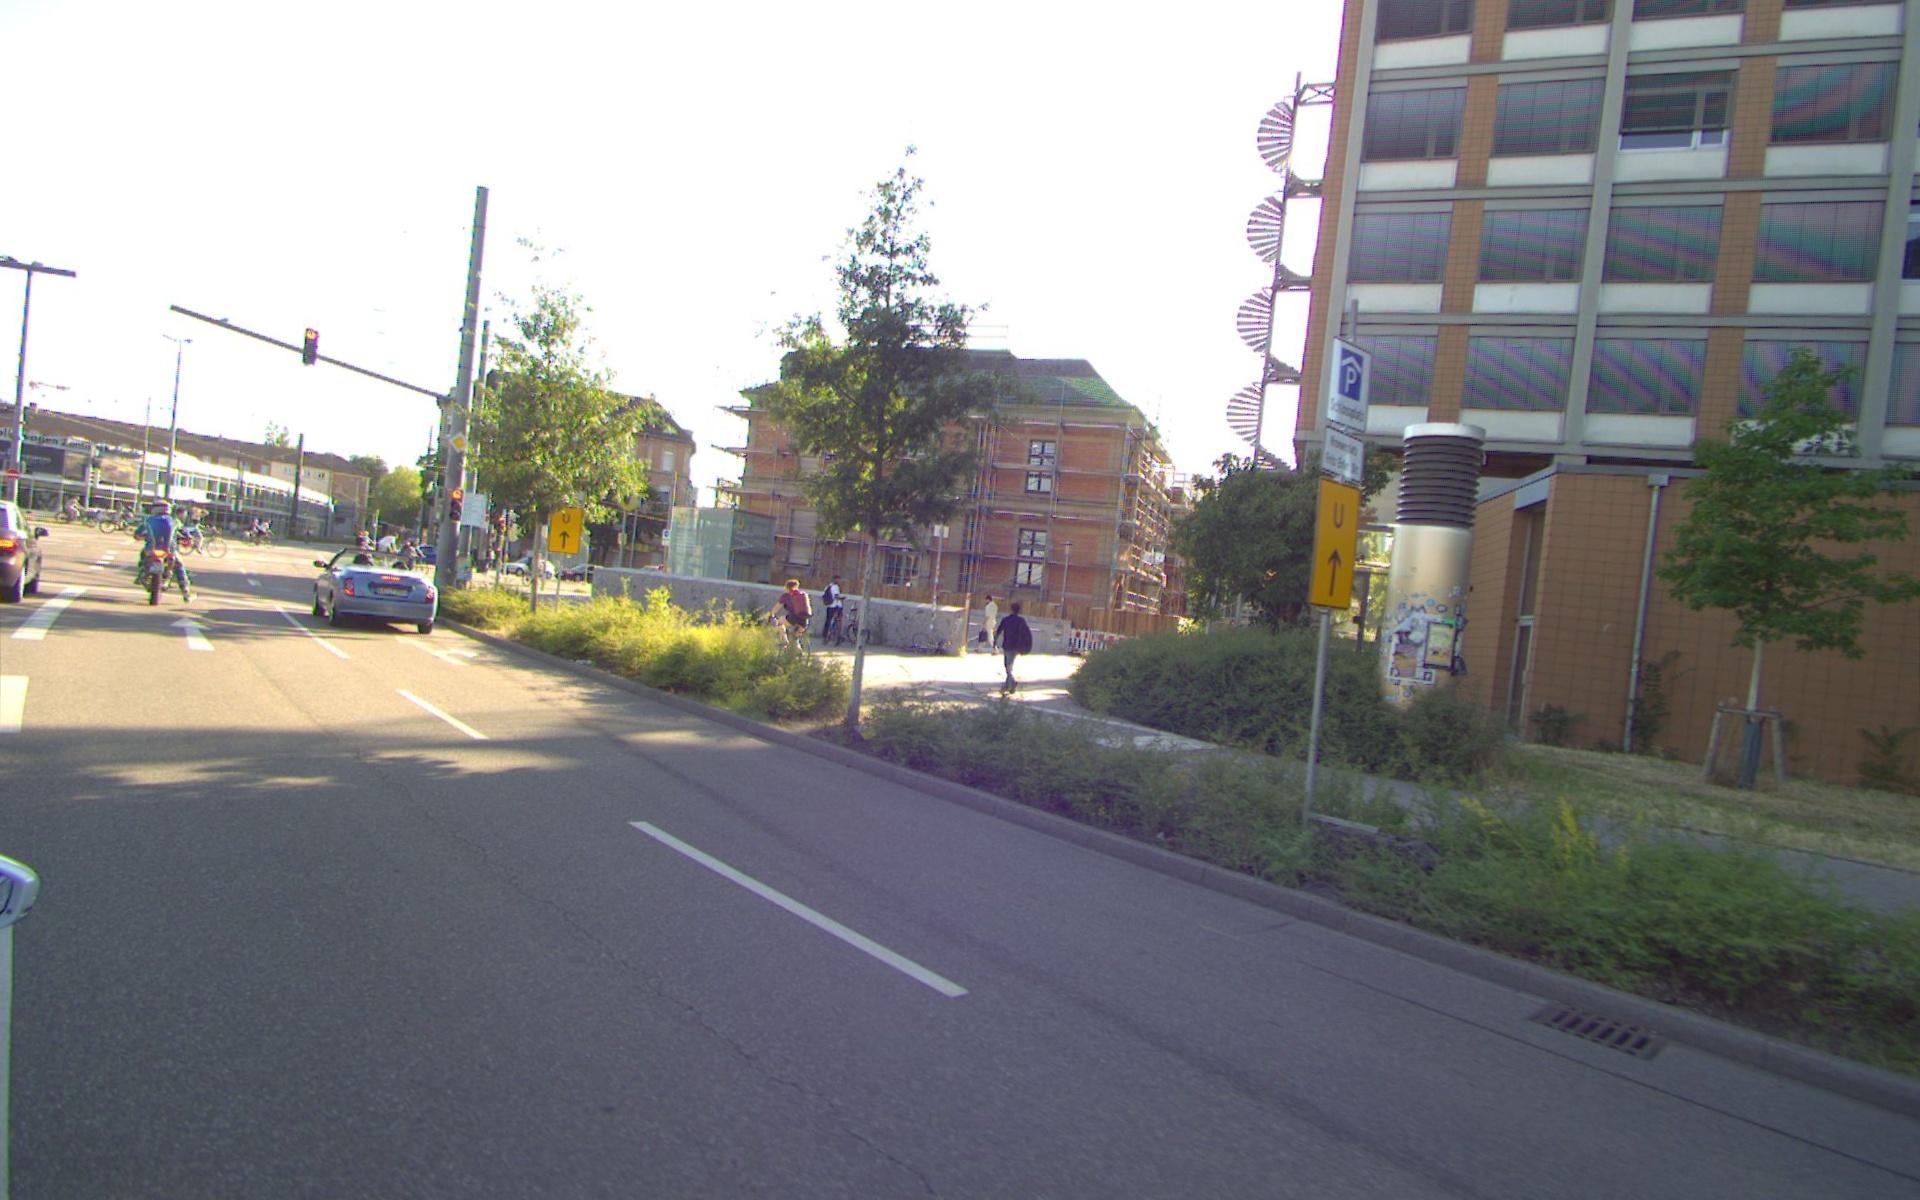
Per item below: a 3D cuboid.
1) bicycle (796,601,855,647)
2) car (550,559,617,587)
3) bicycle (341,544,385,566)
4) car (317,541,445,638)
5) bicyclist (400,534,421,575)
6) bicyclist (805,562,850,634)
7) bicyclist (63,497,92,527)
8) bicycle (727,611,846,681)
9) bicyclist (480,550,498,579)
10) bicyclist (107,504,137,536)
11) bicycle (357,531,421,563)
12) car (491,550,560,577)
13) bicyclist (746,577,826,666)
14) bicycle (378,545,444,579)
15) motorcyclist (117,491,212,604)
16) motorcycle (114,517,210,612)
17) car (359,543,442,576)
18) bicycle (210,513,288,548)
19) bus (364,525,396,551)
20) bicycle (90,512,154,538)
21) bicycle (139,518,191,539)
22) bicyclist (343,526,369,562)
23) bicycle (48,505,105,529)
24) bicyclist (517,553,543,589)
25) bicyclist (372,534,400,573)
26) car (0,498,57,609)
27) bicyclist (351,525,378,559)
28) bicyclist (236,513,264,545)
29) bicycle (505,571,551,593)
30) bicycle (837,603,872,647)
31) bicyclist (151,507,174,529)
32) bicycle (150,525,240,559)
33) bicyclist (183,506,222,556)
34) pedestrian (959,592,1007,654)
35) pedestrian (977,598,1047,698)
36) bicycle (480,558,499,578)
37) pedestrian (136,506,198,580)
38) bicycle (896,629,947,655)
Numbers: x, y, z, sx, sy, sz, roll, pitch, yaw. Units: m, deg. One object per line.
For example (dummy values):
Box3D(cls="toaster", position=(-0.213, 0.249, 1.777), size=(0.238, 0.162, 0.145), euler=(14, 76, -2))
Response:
Box3D(cls="bicycle", position=(-3.551, 0.606, 26.434), size=(0.783, 1.052, 1.948), euler=(4, 1, -31))
Box3D(cls="car", position=(-27.667, -1.964, 73.932), size=(1.927, 1.504, 4.083), euler=(6, 0, 41))
Box3D(cls="bicycle", position=(-32.137, -2.412, 54.210), size=(0.844, 0.917, 2.303), euler=(8, 0, 3))
Box3D(cls="car", position=(-11.148, -0.263, 19.240), size=(1.789, 1.461, 3.944), euler=(8, -1, -33))
Box3D(cls="bicyclist", position=(-24.735, -2.051, 45.311), size=(0.644, 1.712, 0.853), euler=(7, 2, -29))
Box3D(cls="bicyclist", position=(-3.479, -0.054, 26.372), size=(0.780, 1.809, 0.887), euler=(4, 1, -31))
Box3D(cls="bicyclist", position=(-52.000, -5.202, 59.286), size=(0.846, 1.579, 0.924), euler=(9, 1, 31))
Box3D(cls="bicycle", position=(-3.006, 0.769, 17.255), size=(2.219, 0.963, 0.718), euler=(5, -2, 43))
Box3D(cls="bicyclist", position=(-27.300, -2.045, 58.349), size=(0.783, 1.614, 0.940), euler=(4, 1, -31))
Box3D(cls="bicyclist", position=(-45.104, -4.297, 54.145), size=(0.948, 1.579, 0.923), euler=(7, 1, 36))
Box3D(cls="bicycle", position=(-27.277, -2.505, 48.108), size=(0.846, 1.147, 2.495), euler=(9, 1, 33))
Box3D(cls="car", position=(-31.588, -2.636, 73.190), size=(1.926, 1.470, 4.090), euler=(6, 0, 40))
Box3D(cls="bicyclist", position=(-2.991, 0.363, 17.284), size=(1.061, 1.401, 0.718), euler=(5, -2, 42))
Box3D(cls="bicycle", position=(-24.727, -1.718, 45.341), size=(2.474, 1.147, 0.853), euler=(8, 1, -29))
Box3D(cls="motorcyclist", position=(-13.557, -0.890, 17.185), size=(1.091, 1.742, 0.927), euler=(7, -1, -38))
Box3D(cls="motorcycle", position=(-13.616, -0.628, 17.221), size=(1.091, 1.394, 2.626), euler=(7, -1, -37))
Box3D(cls="car", position=(-37.680, -2.693, 67.806), size=(4.580, 1.613, 1.933), euler=(7, 0, -39))
Box3D(cls="bicycle", position=(-47.767, -4.643, 67.647), size=(1.120, 1.711, 3.991), euler=(9, 1, 33))
Box3D(cls="bus", position=(-72.845, -7.832, 126.505), size=(2.333, 2.919, 9.516), euler=(8, 1, -25))
Box3D(cls="bicycle", position=(-45.109, -4.027, 54.178), size=(0.948, 1.016, 2.438), euler=(7, 0, 35))
Box3D(cls="bicycle", position=(-48.255, -4.327, 61.102), size=(0.844, 0.971, 2.302), euler=(9, 1, 24))
Box3D(cls="bicyclist", position=(-32.114, -2.981, 53.504), size=(0.850, 1.800, 0.584), euler=(6, 1, 3))
Box3D(cls="bicycle", position=(-52.043, -4.893, 59.286), size=(0.846, 0.991, 2.299), euler=(9, 1, 31))
Box3D(cls="bicyclist", position=(-22.280, -1.491, 52.116), size=(0.844, 1.712, 0.651), euler=(8, 1, 14))
Box3D(cls="bicyclist", position=(-27.394, -2.218, 48.002), size=(0.846, 1.712, 0.650), euler=(9, 2, 33))
Box3D(cls="car", position=(-14.587, -0.834, 14.618), size=(1.793, 1.461, 3.936), euler=(8, -1, -39))
Box3D(cls="bicyclist", position=(-32.059, -3.120, 54.154), size=(0.844, 1.712, 0.651), euler=(8, 1, 2))
Box3D(cls="bicyclist", position=(-47.776, -4.741, 67.678), size=(1.104, 1.924, 1.071), euler=(9, 1, 33))
Box3D(cls="bicycle", position=(-22.370, -0.936, 52.126), size=(0.844, 0.917, 2.304), euler=(8, 0, 14))
Box3D(cls="bicycle", position=(-2.853, 0.653, 27.143), size=(0.618, 1.052, 1.958), euler=(4, 0, -13))
Box3D(cls="bicyclist", position=(-48.264, -4.979, 60.869), size=(0.822, 1.157, 0.714), euler=(9, 1, 24))
Box3D(cls="bicycle", position=(-28.419, -2.146, 37.417), size=(0.845, 0.885, 2.497), euler=(9, 0, 30))
Box3D(cls="bicyclist", position=(-28.279, -2.559, 37.563), size=(0.845, 1.712, 0.746), euler=(9, 2, 30))
Box3D(cls="pedestrian", position=(0.700, 0.714, 30.774), size=(0.922, 1.745, 0.985), euler=(7, 1, 32))
Box3D(cls="pedestrian", position=(0.945, 0.873, 18.349), size=(0.798, 1.678, 0.786), euler=(9, -1, -23))
Box3D(cls="bicycle", position=(-27.354, -1.876, 58.435), size=(0.783, 1.052, 1.948), euler=(4, 1, -31))
Box3D(cls="pedestrian", position=(-19.466, -1.384, 24.717), size=(0.685, 1.692, 0.829), euler=(6, 1, 12))
Box3D(cls="bicycle", position=(-1.036, 1.115, 26.814), size=(1.337, 0.547, 0.428), euler=(7, 2, 38))
